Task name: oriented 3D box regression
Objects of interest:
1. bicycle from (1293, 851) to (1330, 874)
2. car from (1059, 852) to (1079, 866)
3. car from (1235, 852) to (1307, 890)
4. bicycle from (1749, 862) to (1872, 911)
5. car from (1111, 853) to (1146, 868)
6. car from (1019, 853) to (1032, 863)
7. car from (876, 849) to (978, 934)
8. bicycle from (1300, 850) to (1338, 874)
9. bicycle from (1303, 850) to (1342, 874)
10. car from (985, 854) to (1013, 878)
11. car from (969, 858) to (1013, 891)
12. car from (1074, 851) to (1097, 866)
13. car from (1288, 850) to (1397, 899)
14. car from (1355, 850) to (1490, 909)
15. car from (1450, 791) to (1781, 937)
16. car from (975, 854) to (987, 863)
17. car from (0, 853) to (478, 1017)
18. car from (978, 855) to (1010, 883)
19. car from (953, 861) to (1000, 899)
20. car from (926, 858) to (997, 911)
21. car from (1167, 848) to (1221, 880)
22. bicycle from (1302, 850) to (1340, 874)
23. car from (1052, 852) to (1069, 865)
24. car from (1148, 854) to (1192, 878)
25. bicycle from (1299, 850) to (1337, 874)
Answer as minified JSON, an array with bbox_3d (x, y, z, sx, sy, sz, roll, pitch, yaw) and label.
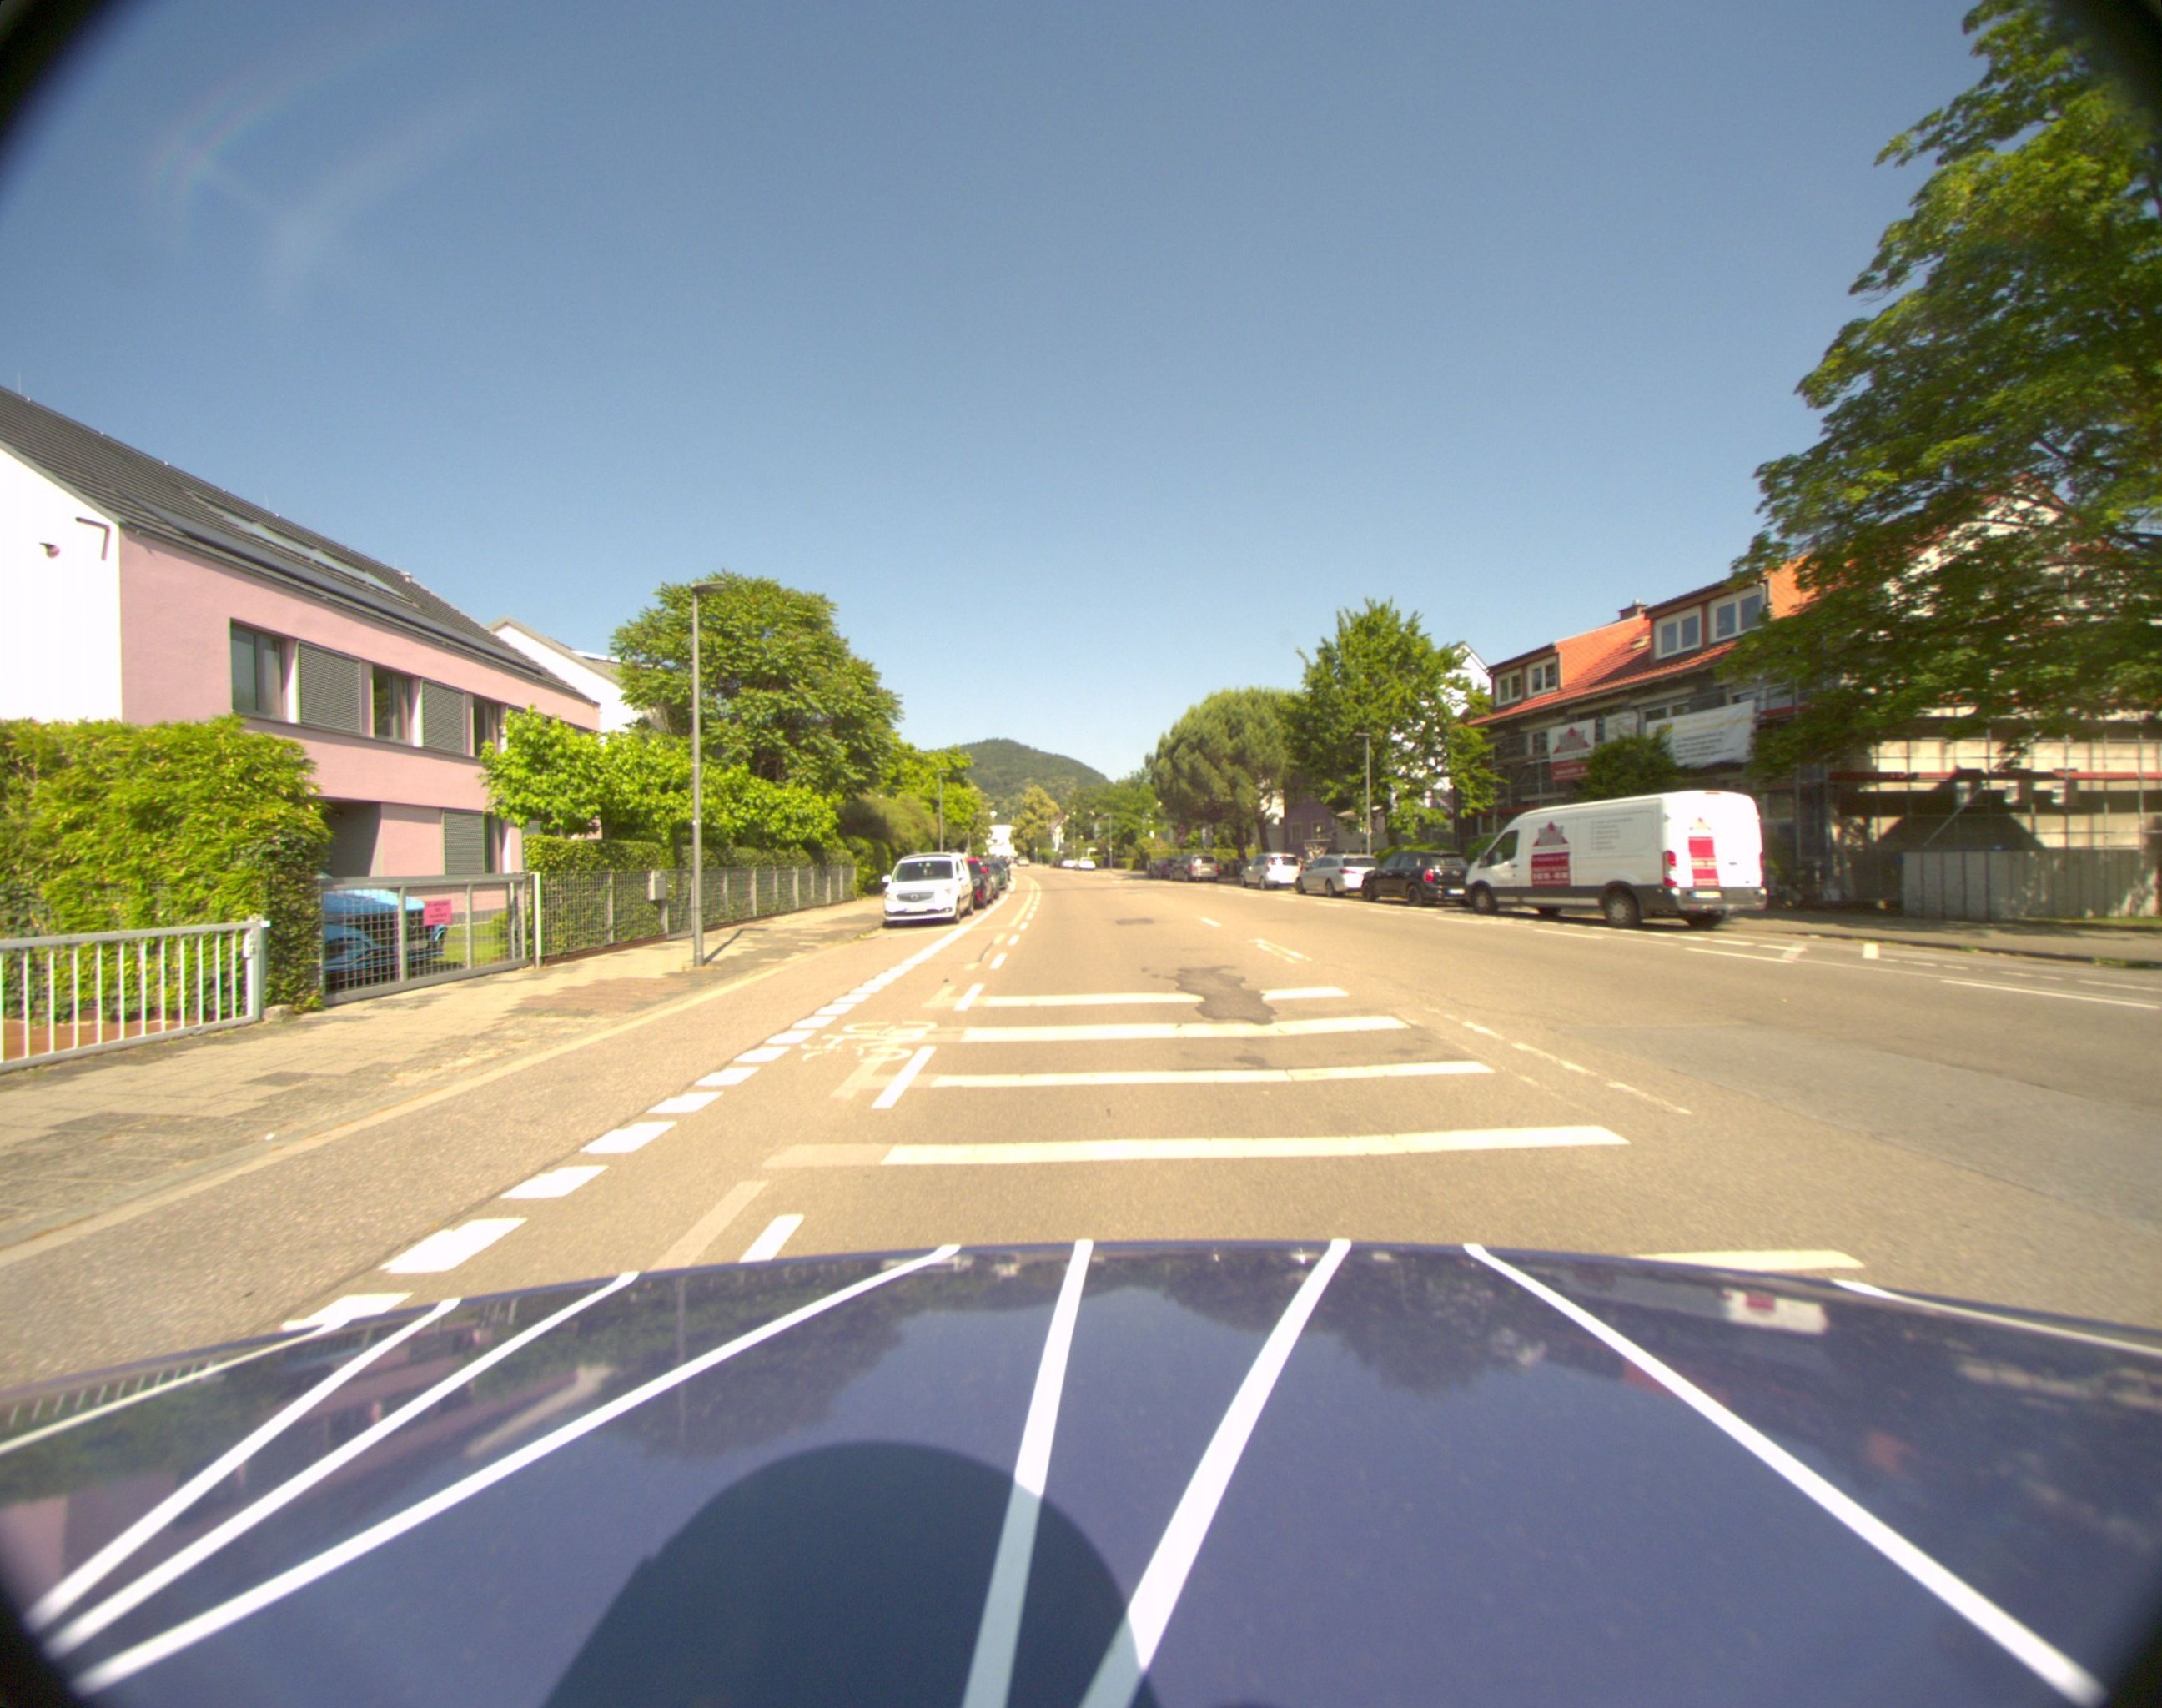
[{"bbox_3d":[13.962,0.517,46.030,2.179,1.375,0.502,0,0,-11],"label":"bicycle"},{"bbox_3d":[-1.484,0.634,95.125,2.000,1.608,3.997,-1,0,-8],"label":"car"},{"bbox_3d":[8.128,0.690,32.872,1.725,1.550,3.998,0,0,-7],"label":"car"},{"bbox_3d":[15.945,0.695,16.623,2.074,0.995,0.775,-1,1,-6],"label":"bicycle"},{"bbox_3d":[5.521,0.744,88.592,3.996,1.805,2.000,0,0,2],"label":"car"},{"bbox_3d":[-10.099,0.797,137.784,2.006,1.803,4.761,0,0,-8],"label":"car"},{"bbox_3d":[-3.842,0.850,19.758,1.767,1.816,4.596,-3,1,-2],"label":"car"},{"bbox_3d":[14.068,0.475,44.947,2.179,1.375,0.502,0,0,-11],"label":"bicycle"},{"bbox_3d":[13.899,0.434,43.794,2.179,1.375,0.502,0,0,-11],"label":"bicycle"},{"bbox_3d":[-5.848,0.866,54.612,1.817,1.550,4.598,-3,0,-5],"label":"car"},{"bbox_3d":[-4.546,1.015,38.994,1.817,1.454,4.786,-4,0,-3],"label":"car"},{"bbox_3d":[0.452,0.517,83.292,1.960,1.543,3.997,-1,0,-8],"label":"car"},{"bbox_3d":[8.953,0.667,26.474,1.725,1.550,4.669,0,0,-7],"label":"car"},{"bbox_3d":[9.629,0.675,21.801,1.725,1.550,3.998,0,0,-7],"label":"car"},{"bbox_3d":[10.665,0.184,15.995,2.096,2.482,5.947,0,0,-10],"label":"car"},{"bbox_3d":[-20.564,0.925,156.509,2.000,1.696,3.995,-2,1,-12],"label":"car"},{"bbox_3d":[-10.780,0.901,9.292,5.100,1.696,1.978,-1,0,-2],"label":"car"},{"bbox_3d":[-5.554,0.939,49.029,1.817,1.550,3.914,-5,0,-6],"label":"car"},{"bbox_3d":[-4.158,0.991,30.761,1.767,1.435,4.066,0,0,-6],"label":"car"},{"bbox_3d":[-3.847,0.938,25.098,1.767,1.584,4.313,-1,0,-2],"label":"car"},{"bbox_3d":[6.416,0.564,43.681,1.847,1.754,4.582,0,0,-8],"label":"car"},{"bbox_3d":[14.377,0.478,45.566,2.179,1.375,0.502,0,0,-11],"label":"bicycle"},{"bbox_3d":[-2.833,0.591,104.802,2.000,1.674,3.997,-1,0,-8],"label":"car"},{"bbox_3d":[5.696,0.747,49.063,1.847,1.449,4.190,0,0,-8],"label":"car"},{"bbox_3d":[13.826,0.456,44.342,2.179,1.375,0.502,0,0,-11],"label":"bicycle"}]
